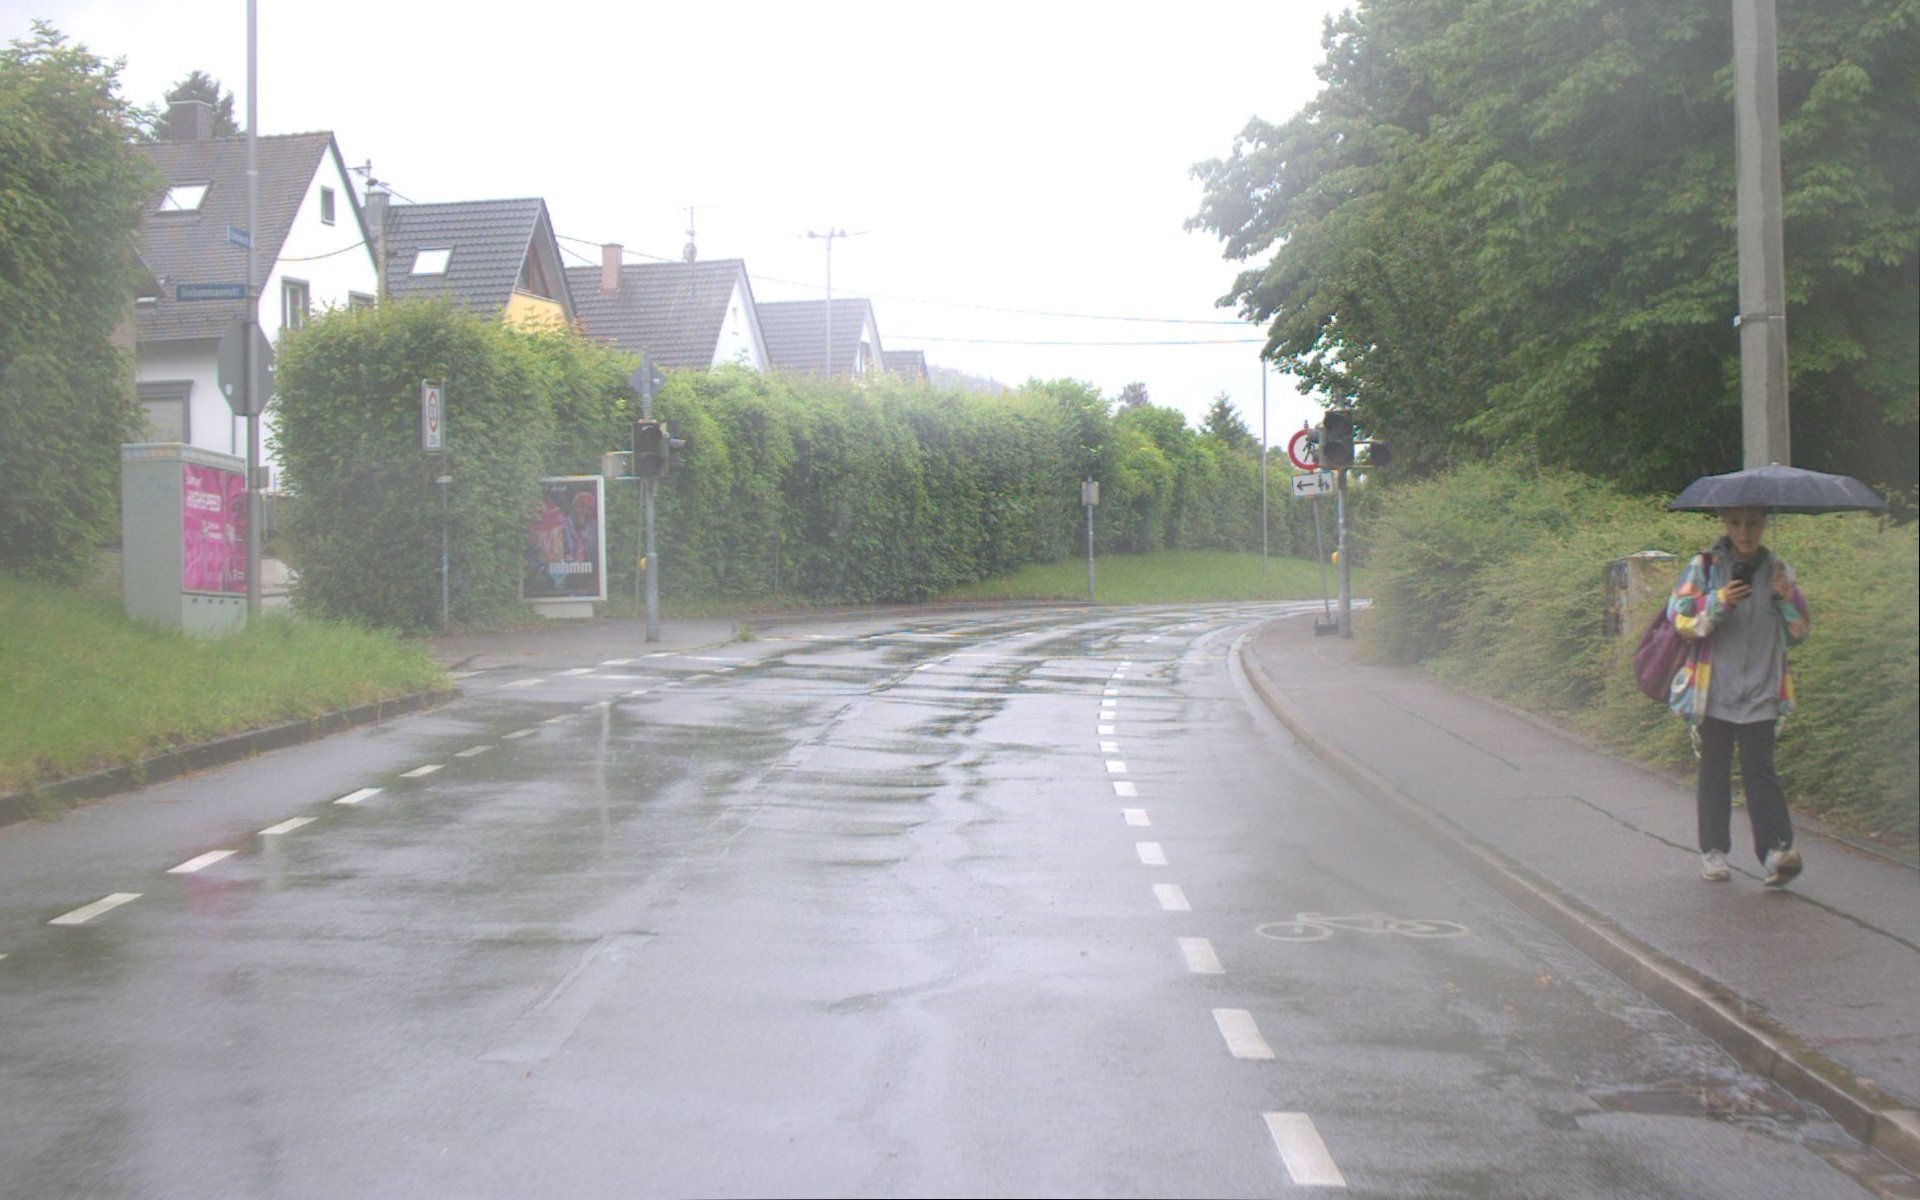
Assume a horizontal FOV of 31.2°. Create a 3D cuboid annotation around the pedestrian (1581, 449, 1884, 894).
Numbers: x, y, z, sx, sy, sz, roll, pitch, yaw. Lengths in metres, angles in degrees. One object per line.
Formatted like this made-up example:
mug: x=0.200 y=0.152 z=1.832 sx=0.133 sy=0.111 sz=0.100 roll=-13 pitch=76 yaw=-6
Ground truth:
pedestrian: x=3.053 y=0.265 z=13.681 sx=0.920 sy=1.669 sz=1.057 roll=-2 pitch=1 yaw=1
